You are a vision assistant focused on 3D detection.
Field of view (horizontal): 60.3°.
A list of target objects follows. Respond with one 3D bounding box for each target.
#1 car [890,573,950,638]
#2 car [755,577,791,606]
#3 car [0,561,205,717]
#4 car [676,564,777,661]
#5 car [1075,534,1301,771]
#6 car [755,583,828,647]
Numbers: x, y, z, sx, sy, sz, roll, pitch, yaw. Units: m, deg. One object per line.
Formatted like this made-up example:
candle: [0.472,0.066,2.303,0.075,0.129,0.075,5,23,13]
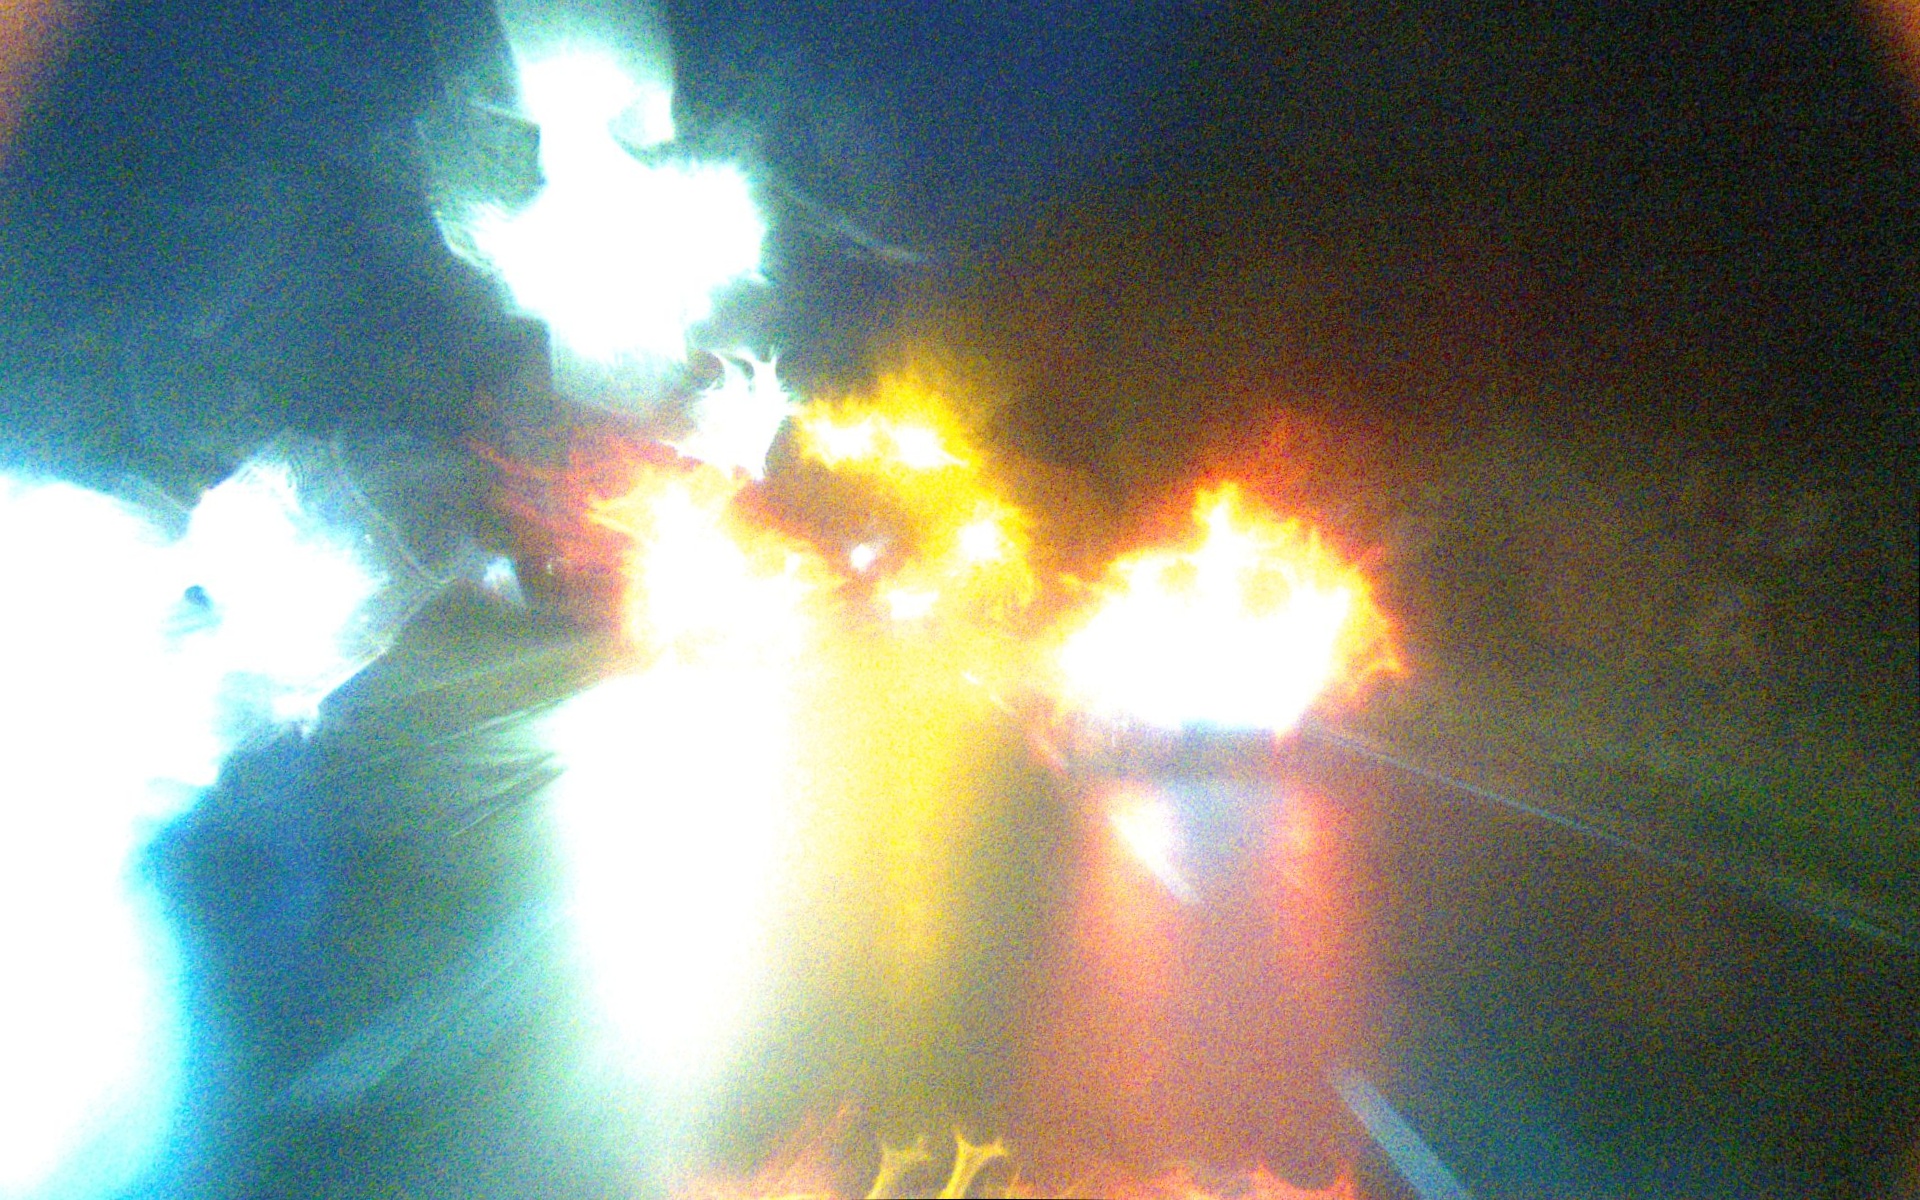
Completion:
car: [-1.374,0.156,55.337,1.756,2.057,4.575,1,0,-5]
car: [-12.665,-0.582,112.142,1.954,1.746,3.998,5,-1,-2]
car: [-10.935,0.387,20.119,1.727,1.670,4.647,2,0,-6]
car: [-4.619,0.218,33.221,1.749,1.813,4.432,1,0,-5]
car: [2.166,0.472,16.848,1.754,2.057,4.580,1,0,1]
car: [-4.294,0.338,42.460,1.749,1.537,4.431,0,0,-5]
